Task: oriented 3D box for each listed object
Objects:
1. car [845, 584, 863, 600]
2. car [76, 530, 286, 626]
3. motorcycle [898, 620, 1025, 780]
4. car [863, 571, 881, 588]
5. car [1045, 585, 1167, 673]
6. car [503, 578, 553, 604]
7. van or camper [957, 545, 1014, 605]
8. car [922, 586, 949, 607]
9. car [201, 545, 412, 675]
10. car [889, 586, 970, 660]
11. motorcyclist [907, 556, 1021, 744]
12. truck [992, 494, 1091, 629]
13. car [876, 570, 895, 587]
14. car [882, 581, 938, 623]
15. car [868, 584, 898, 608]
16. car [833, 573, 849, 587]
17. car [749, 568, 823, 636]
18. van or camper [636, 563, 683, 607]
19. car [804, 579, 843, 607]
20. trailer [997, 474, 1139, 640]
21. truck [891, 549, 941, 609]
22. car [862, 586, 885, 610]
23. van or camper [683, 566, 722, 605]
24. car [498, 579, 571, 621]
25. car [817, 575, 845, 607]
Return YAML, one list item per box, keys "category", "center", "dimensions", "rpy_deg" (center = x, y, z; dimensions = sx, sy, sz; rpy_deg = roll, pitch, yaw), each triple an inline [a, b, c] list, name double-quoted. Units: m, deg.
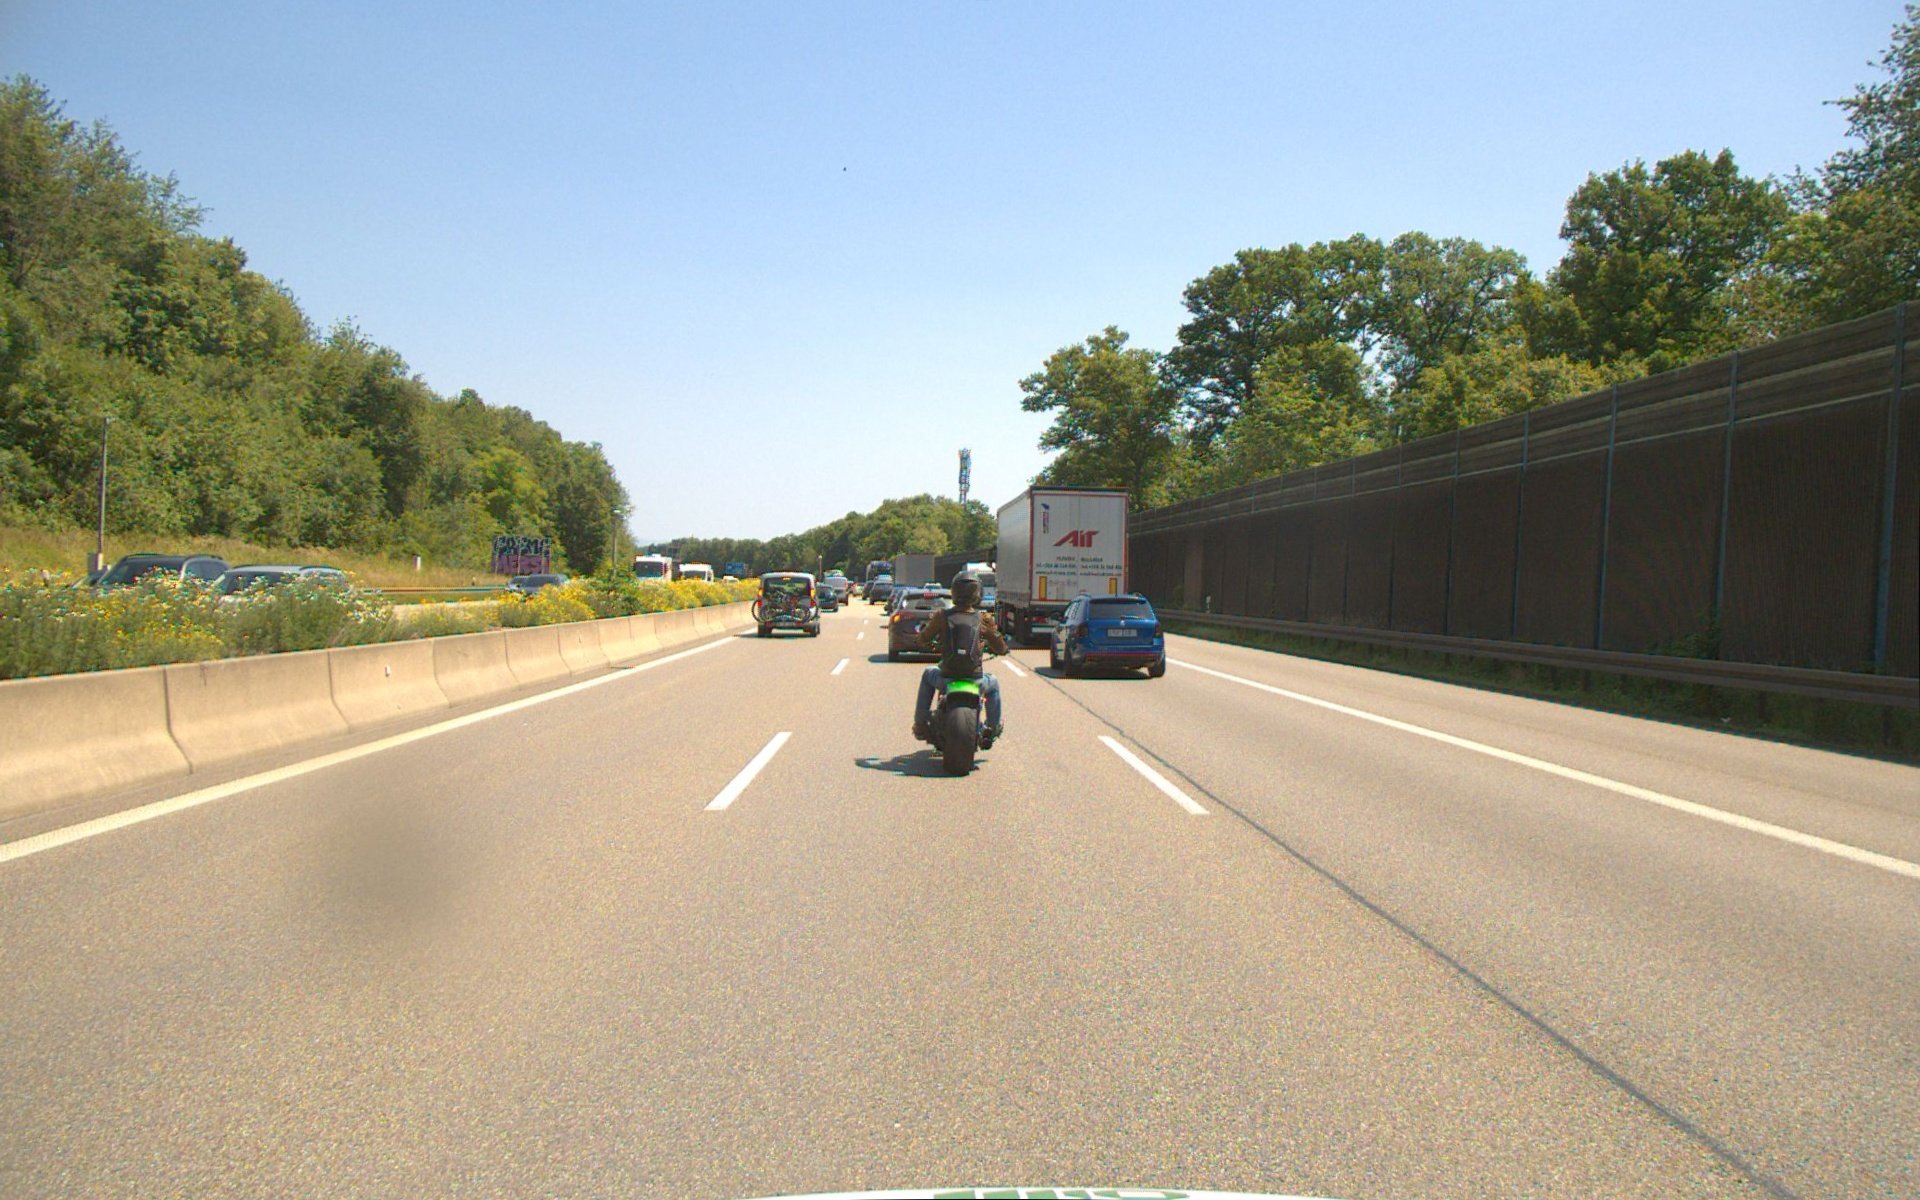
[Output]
- category: "car"
  center: [-11.022, -0.811, 171.411]
  dimensions: [1.796, 1.522, 3.740]
  rpy_deg: [0, -1, -4]
- category: "car"
  center: [-14.193, -0.359, 30.422]
  dimensions: [1.953, 1.618, 4.161]
  rpy_deg: [0, -1, -2]
- category: "motorcycle"
  center: [0.062, 0.793, 14.271]
  dimensions: [0.944, 1.168, 2.813]
  rpy_deg: [1, 1, 3]
- category: "car"
  center: [-10.773, -2.496, 201.966]
  dimensions: [2.066, 1.909, 3.996]
  rpy_deg: [0, -1, -4]
- category: "car"
  center: [2.626, 0.515, 30.712]
  dimensions: [1.618, 1.508, 4.478]
  rpy_deg: [0, 0, -3]
- category: "car"
  center: [-25.256, -0.548, 96.771]
  dimensions: [1.953, 1.457, 4.190]
  rpy_deg: [0, 1, -2]
- category: "van or camper"
  center: [1.250, -1.225, 84.894]
  dimensions: [2.631, 2.862, 6.800]
  rpy_deg: [0, -1, -2]
- category: "car"
  center: [-1.949, -0.242, 129.598]
  dimensions: [1.954, 1.601, 3.997]
  rpy_deg: [0, -1, -3]
- category: "car"
  center: [-11.045, 0.174, 28.269]
  dimensions: [1.952, 2.049, 4.000]
  rpy_deg: [0, -1, 1]
- category: "car"
  center: [-0.672, 0.479, 35.324]
  dimensions: [1.629, 1.478, 3.867]
  rpy_deg: [0, -1, -2]
- category: "motorcyclist"
  center: [0.069, 0.406, 14.188]
  dimensions: [0.881, 1.501, 1.872]
  rpy_deg: [0, -1, 3]
- category: "truck"
  center: [2.621, -1.227, 55.034]
  dimensions: [2.827, 4.218, 5.984]
  rpy_deg: [0, 0, -2]
- category: "car"
  center: [-8.865, -2.533, 196.482]
  dimensions: [2.066, 1.909, 3.996]
  rpy_deg: [0, -1, -4]
- category: "car"
  center: [-1.840, 0.100, 60.042]
  dimensions: [1.954, 1.455, 3.845]
  rpy_deg: [0, -1, -3]
- category: "car"
  center: [-5.421, -0.278, 116.424]
  dimensions: [1.954, 1.669, 3.996]
  rpy_deg: [0, -1, -4]
- category: "car"
  center: [-14.342, -2.409, 199.402]
  dimensions: [1.795, 1.522, 3.742]
  rpy_deg: [0, -1, -2]
- category: "car"
  center: [-5.098, 0.082, 48.837]
  dimensions: [1.861, 1.906, 4.410]
  rpy_deg: [0, -1, -2]
- category: "van or camper"
  center: [-24.336, -1.181, 134.302]
  dimensions: [2.489, 3.375, 8.997]
  rpy_deg: [0, -1, -3]
- category: "car"
  center: [-7.262, -0.353, 88.229]
  dimensions: [1.954, 1.411, 3.997]
  rpy_deg: [0, -1, -3]
- category: "trailer"
  center: [2.848, -1.139, 48.200]
  dimensions: [2.827, 4.109, 13.790]
  rpy_deg: [0, 1, -2]
- category: "truck"
  center: [-3.928, -1.784, 146.058]
  dimensions: [3.729, 5.046, 8.939]
  rpy_deg: [0, -1, -6]
- category: "car"
  center: [-7.576, -0.140, 144.549]
  dimensions: [1.874, 2.049, 3.686]
  rpy_deg: [0, -1, -6]
- category: "van or camper"
  center: [-20.013, -1.121, 128.960]
  dimensions: [2.212, 2.950, 6.554]
  rpy_deg: [0, 1, -2]
- category: "car"
  center: [-17.174, -0.015, 66.955]
  dimensions: [1.953, 1.614, 4.272]
  rpy_deg: [0, 0, -1]
- category: "car"
  center: [-8.703, -0.586, 111.711]
  dimensions: [1.756, 2.049, 3.639]
  rpy_deg: [0, -1, -3]
